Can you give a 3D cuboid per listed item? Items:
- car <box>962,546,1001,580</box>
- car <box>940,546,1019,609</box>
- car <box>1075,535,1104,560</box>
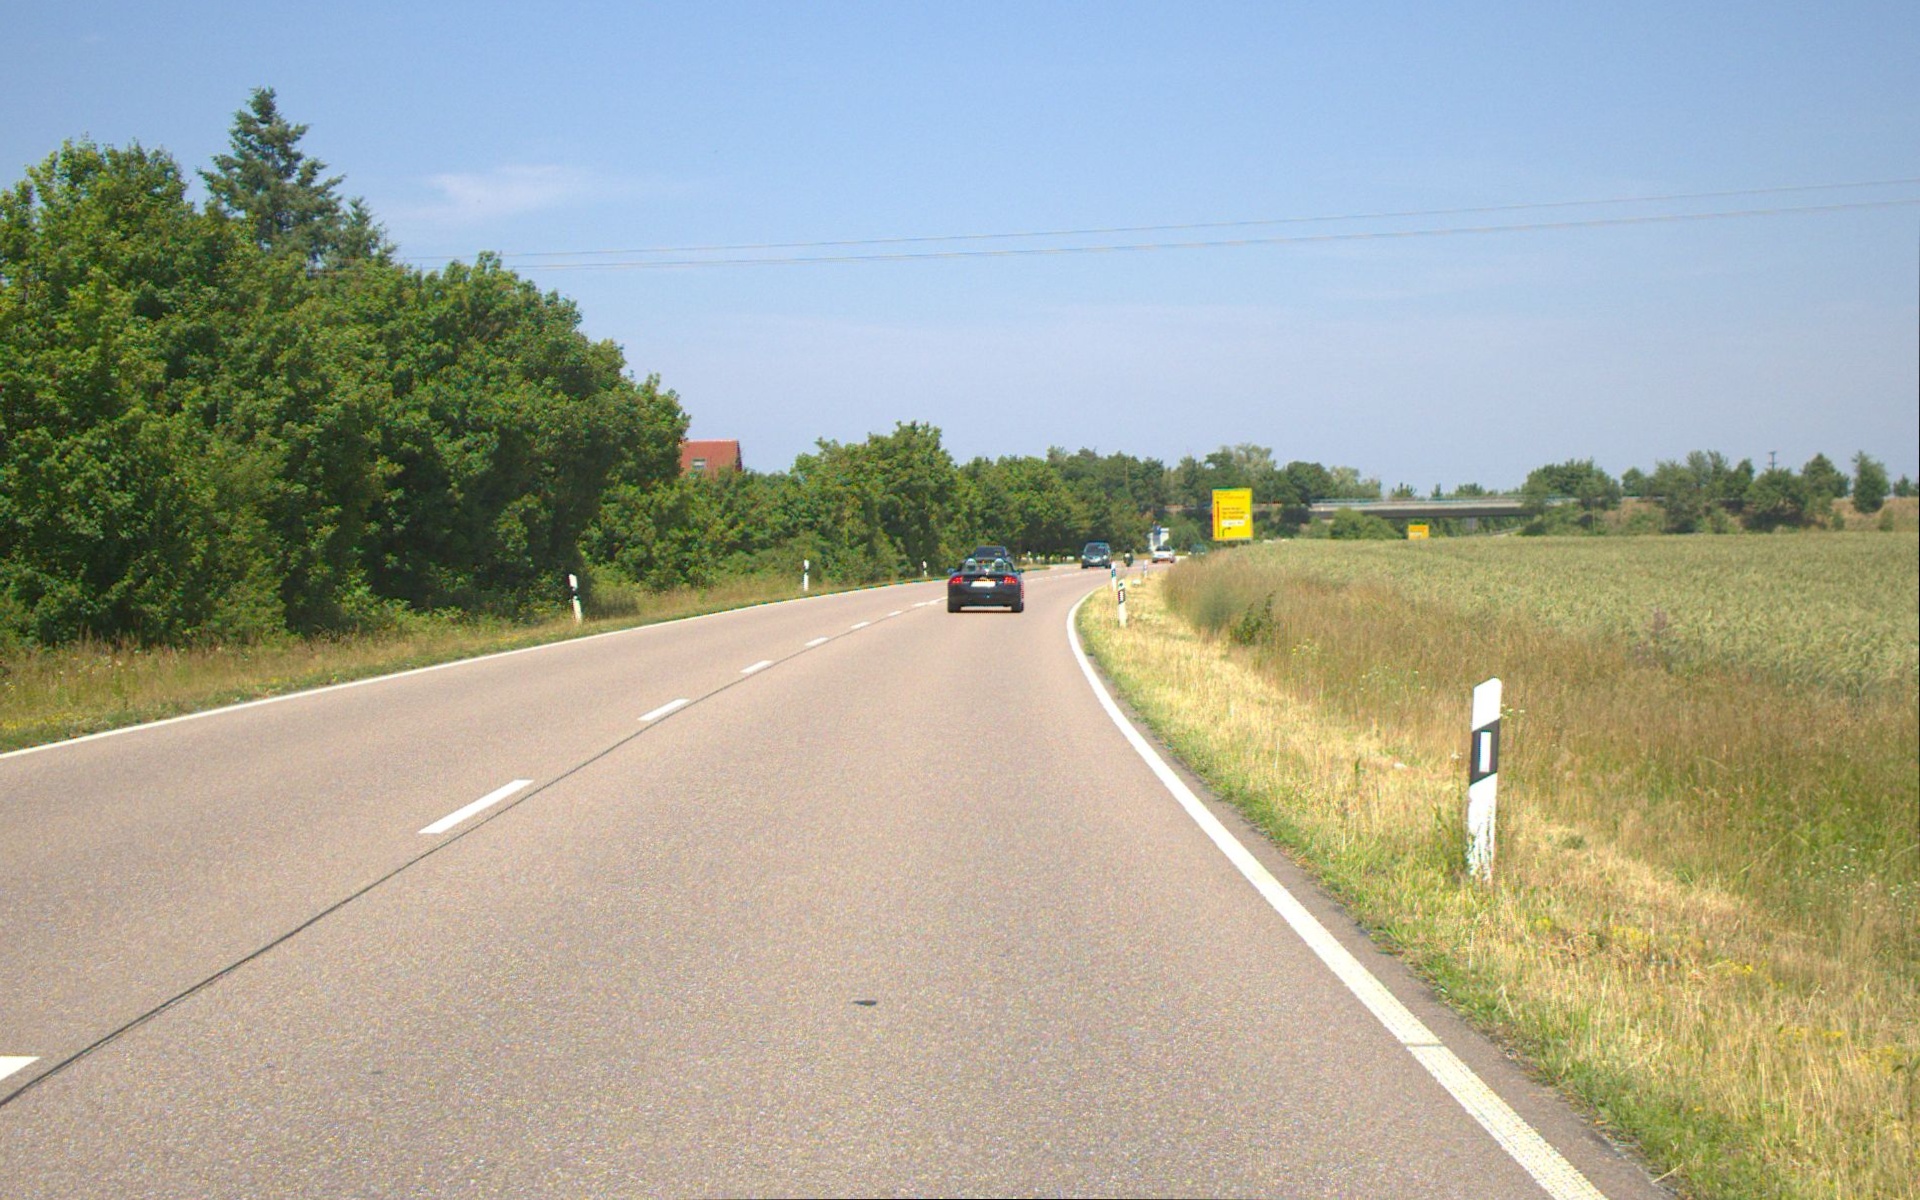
[{"bbox_3d":[1.018,-1.724,159.251,1.699,1.561,3.671,1,1,2],"label":"car"},{"bbox_3d":[0.481,-0.550,82.079,1.814,1.436,4.000,1,1,1],"label":"car"},{"bbox_3d":[8.705,-3.524,230.628,1.819,1.695,5.001,0,1,4],"label":"car"}]
